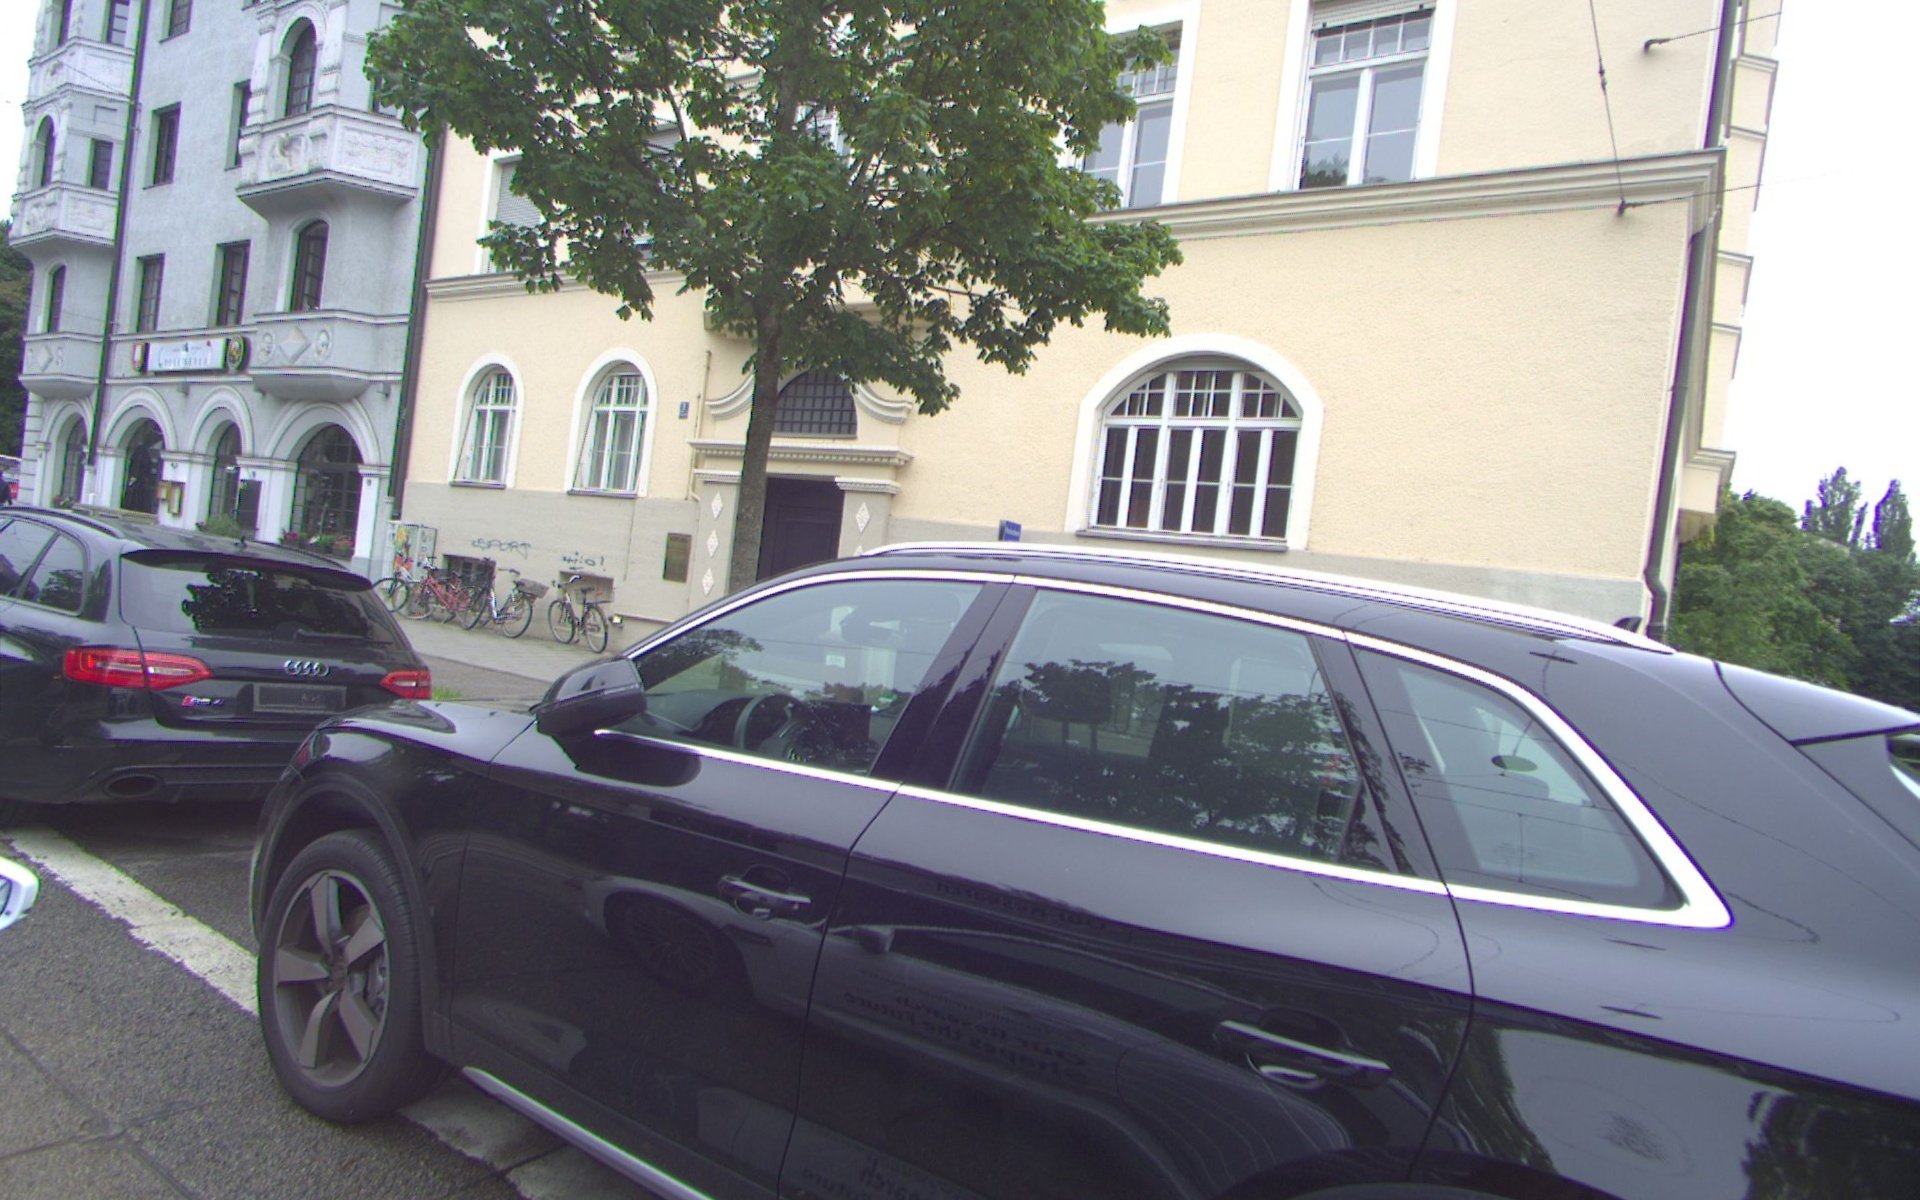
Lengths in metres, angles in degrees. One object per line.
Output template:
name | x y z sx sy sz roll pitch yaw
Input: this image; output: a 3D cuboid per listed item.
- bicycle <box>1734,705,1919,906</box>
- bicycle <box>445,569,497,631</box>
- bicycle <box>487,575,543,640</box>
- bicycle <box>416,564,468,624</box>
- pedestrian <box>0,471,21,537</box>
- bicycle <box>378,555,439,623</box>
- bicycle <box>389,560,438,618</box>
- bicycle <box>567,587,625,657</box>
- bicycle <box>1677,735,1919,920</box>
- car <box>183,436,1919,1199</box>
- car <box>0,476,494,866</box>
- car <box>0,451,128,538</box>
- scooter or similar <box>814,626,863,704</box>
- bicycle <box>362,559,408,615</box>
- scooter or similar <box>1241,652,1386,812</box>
bicycle | 6.977 1.581 7.704 1.511 1.327 0.332 7 -1 30
bicycle | -8.253 -0.007 16.959 0.871 0.941 0.273 7 -1 33
bicycle | -7.174 0.118 16.216 0.871 0.941 0.285 7 -1 33
bicycle | -9.025 -0.111 17.513 0.871 0.941 0.306 7 -1 34
pedestrian | -26.602 -2.678 27.713 0.829 1.752 0.706 7 -1 32
bicycle | -9.534 -0.195 17.371 1.203 1.051 0.242 7 -1 32
bicycle | -9.805 -0.205 18.040 0.871 0.941 0.291 7 -1 33
bicycle | -5.517 0.330 15.243 0.871 0.941 0.222 7 -1 31
bicycle | 6.552 1.736 7.851 1.417 1.119 0.287 7 0 24
car | 0.140 0.659 2.527 4.414 1.677 1.777 7 -2 32
car | -4.884 0.144 5.696 4.525 1.442 1.720 7 -2 31
car | -36.484 -4.257 39.444 2.192 2.642 5.311 7 -2 29
scooter or similar | -1.528 0.826 12.719 0.413 0.921 0.348 8 -1 11
bicycle | -10.591 -0.244 18.523 0.871 0.941 0.259 7 -1 33
scooter or similar | 3.359 1.234 9.596 1.123 1.328 0.262 7 -1 32
